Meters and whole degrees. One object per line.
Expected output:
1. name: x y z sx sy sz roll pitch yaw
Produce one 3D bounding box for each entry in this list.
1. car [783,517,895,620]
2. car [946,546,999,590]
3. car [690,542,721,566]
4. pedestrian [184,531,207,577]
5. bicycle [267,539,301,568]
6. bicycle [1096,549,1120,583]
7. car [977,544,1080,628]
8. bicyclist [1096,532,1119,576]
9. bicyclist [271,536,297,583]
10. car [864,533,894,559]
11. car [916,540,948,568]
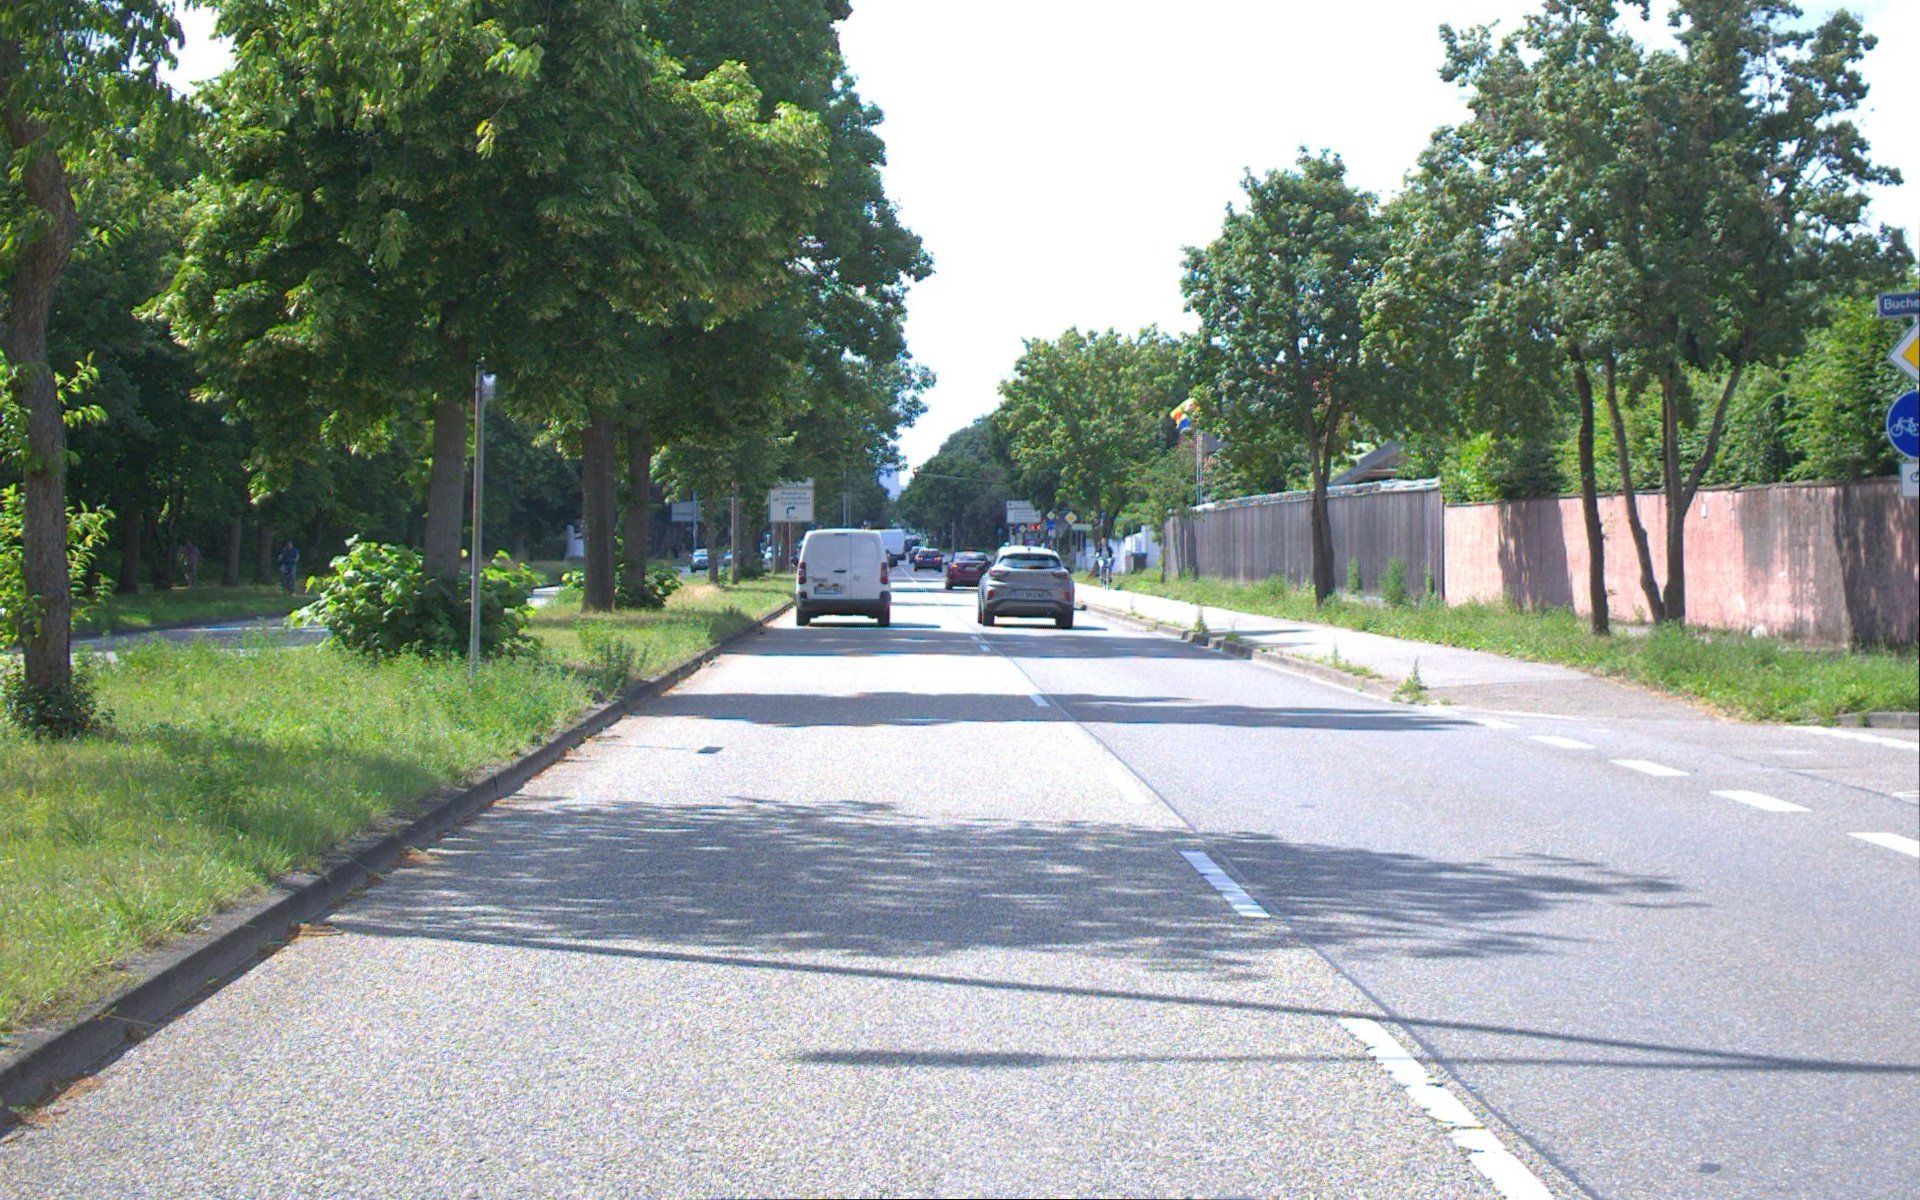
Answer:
1. car: -2.290 -0.628 66.054 2.066 1.905 4.647 0 1 -1
2. car: 0.458 -1.204 128.521 1.880 1.581 4.000 0 1 -1
3. car: -17.922 -3.246 242.258 1.993 1.700 4.193 0 1 -1
4. pedestrian: -27.148 -1.631 122.058 0.644 1.624 0.656 1 1 0
5. bicycle: -20.931 -1.451 106.403 0.618 0.875 1.915 0 1 2
6. bicycle: 4.795 -1.096 111.389 0.646 1.064 2.278 -2 1 0
7. car: 1.319 -0.303 67.423 1.875 1.583 4.185 0 1 -1
8. bicyclist: 4.776 -1.498 111.285 0.654 1.407 0.986 -2 1 0
9. bicyclist: -20.933 -1.252 106.463 0.618 1.443 0.729 0 1 2
10. car: -5.452 -3.643 232.082 1.941 1.761 4.146 0 1 -1
11. car: -1.865 -3.031 226.830 1.993 1.766 4.147 1 1 -1
